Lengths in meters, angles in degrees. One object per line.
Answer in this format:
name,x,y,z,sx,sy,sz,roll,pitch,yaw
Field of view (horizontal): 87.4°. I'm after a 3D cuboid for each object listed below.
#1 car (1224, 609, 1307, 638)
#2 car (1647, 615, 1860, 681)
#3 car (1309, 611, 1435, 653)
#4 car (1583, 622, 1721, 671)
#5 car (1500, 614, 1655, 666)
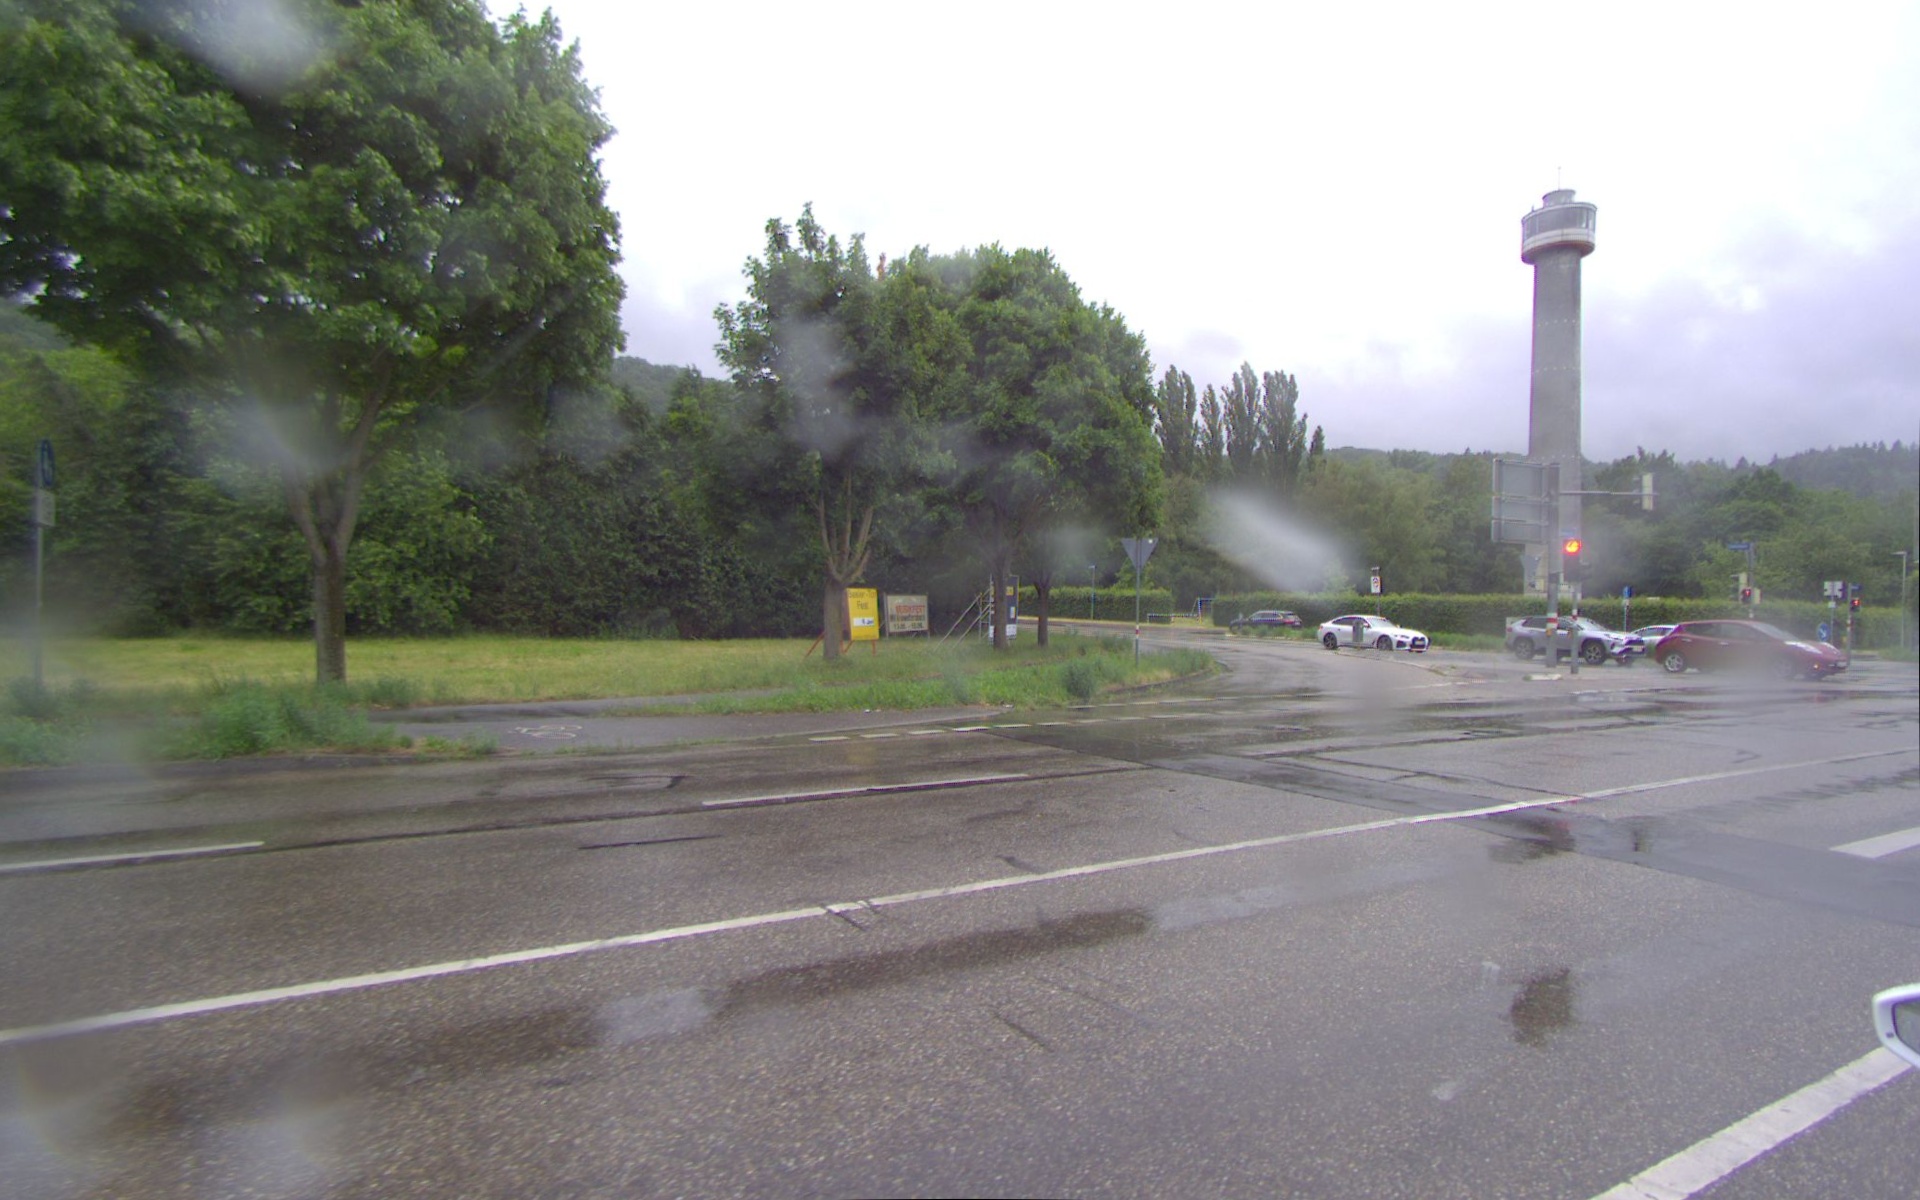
car,18.718,1.399,61.654,1.808,1.661,4.629,1,-1,-41
car,21.944,1.272,28.001,1.709,1.600,4.362,1,0,-25
car,16.408,1.230,40.270,1.773,1.574,4.872,1,-1,-22
car,30.189,1.972,43.951,1.897,1.941,4.636,1,-1,-36
car,22.139,1.396,36.239,1.885,1.601,4.517,1,1,-22
